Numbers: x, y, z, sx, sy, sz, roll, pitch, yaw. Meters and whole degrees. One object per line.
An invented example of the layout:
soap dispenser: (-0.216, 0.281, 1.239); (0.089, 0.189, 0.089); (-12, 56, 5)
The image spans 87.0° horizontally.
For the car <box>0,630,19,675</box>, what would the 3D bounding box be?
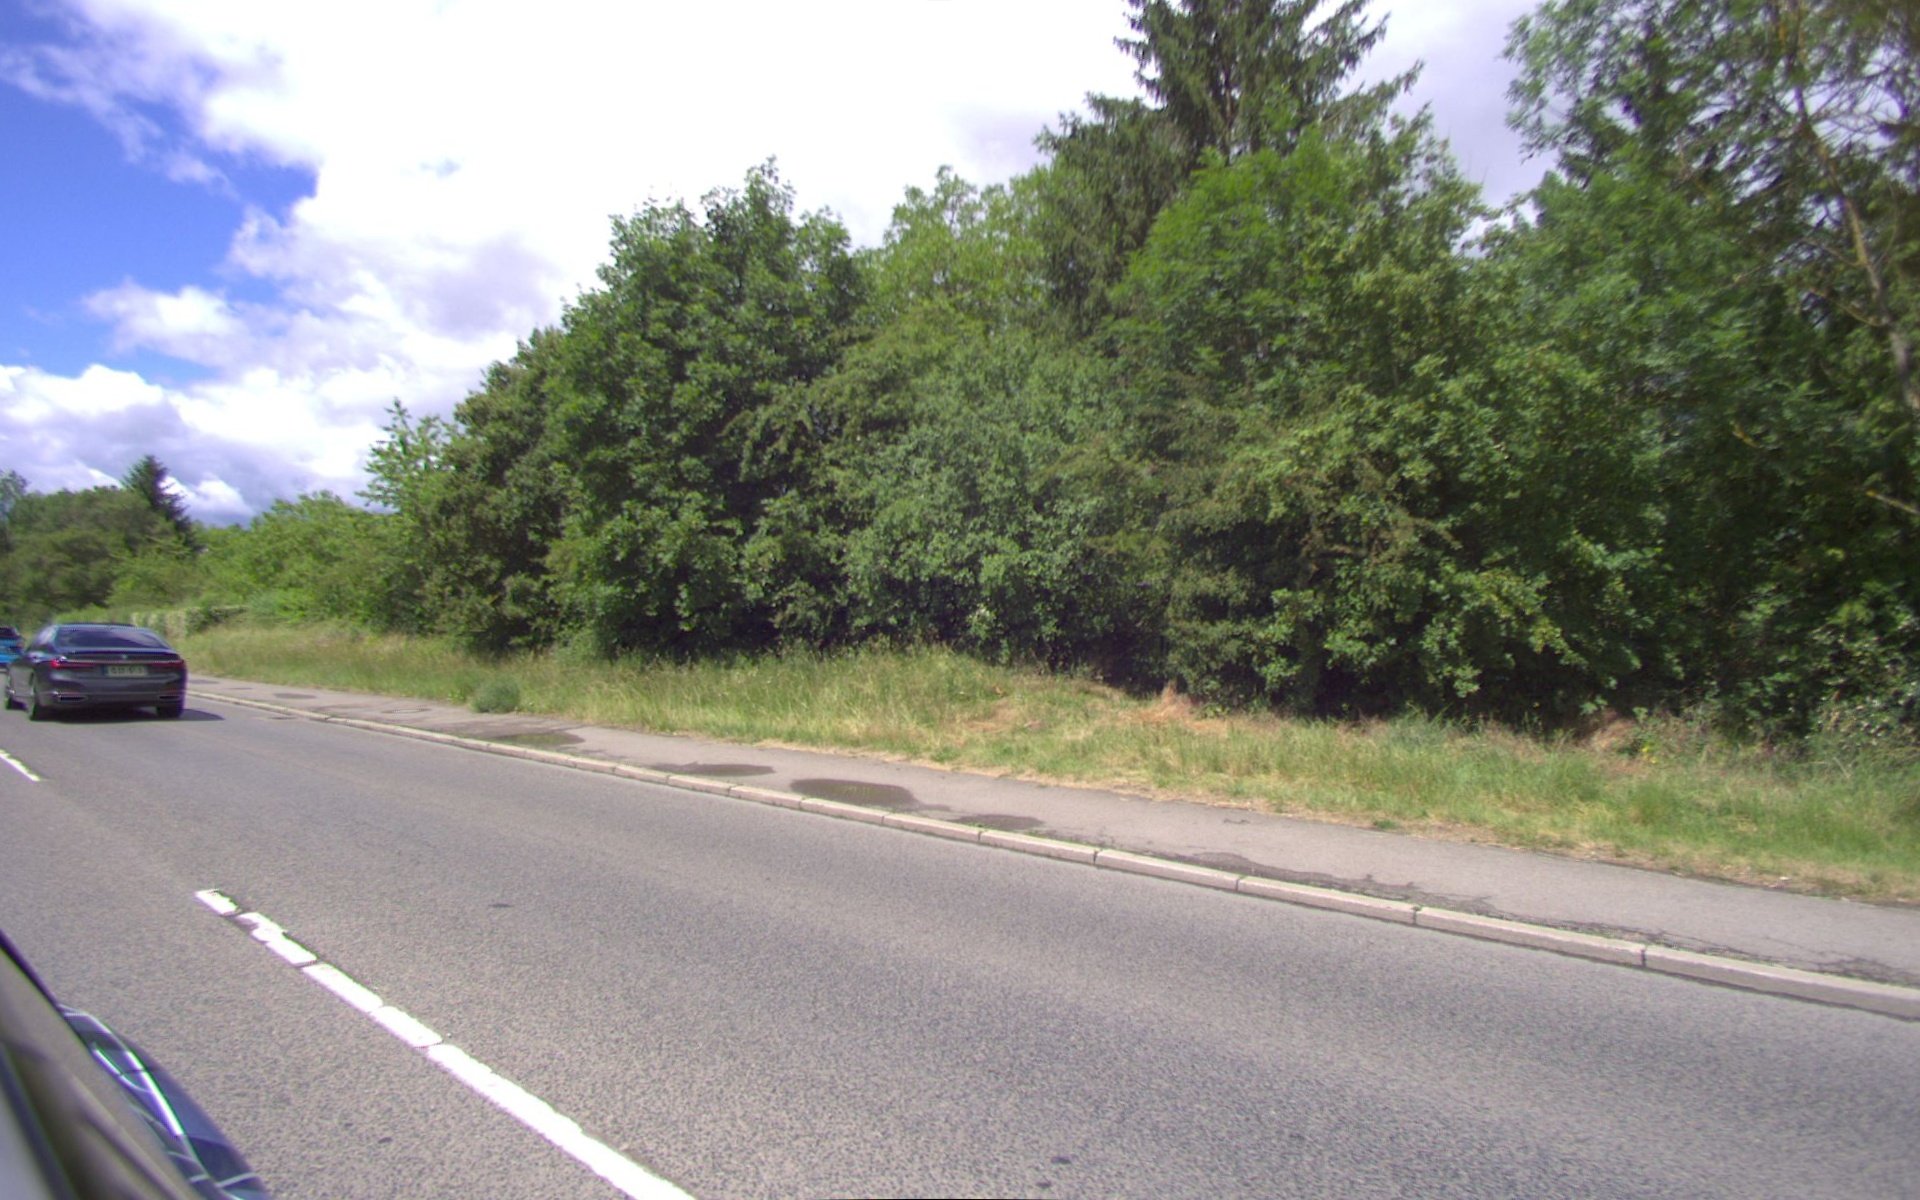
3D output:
car: (-32.482, 1.707, 33.319); (2.963, 1.458, 1.766); (-2, -4, 40)

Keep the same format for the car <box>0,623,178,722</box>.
car: (-15.434, 1.213, 17.607); (4.713, 1.503, 1.865); (-2, -4, 40)
